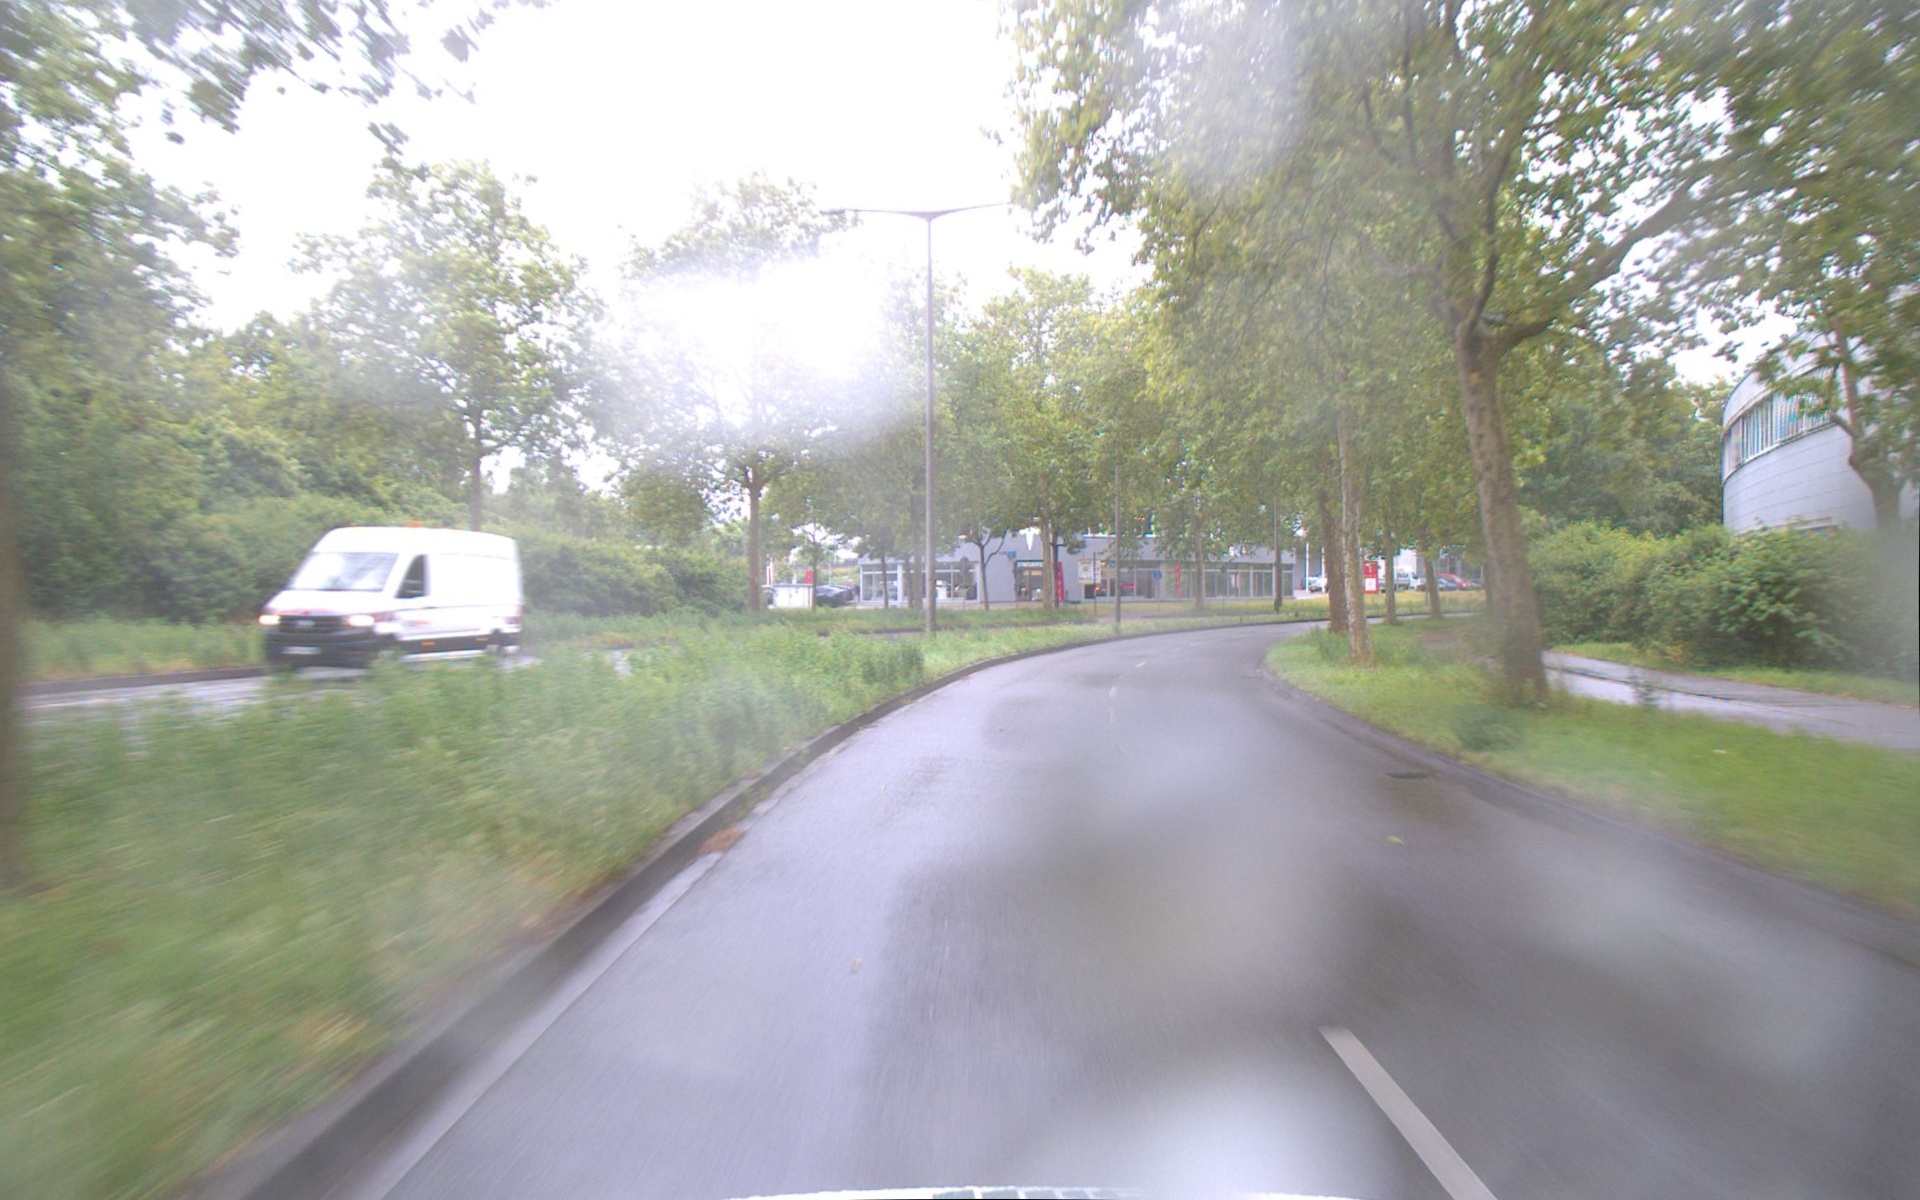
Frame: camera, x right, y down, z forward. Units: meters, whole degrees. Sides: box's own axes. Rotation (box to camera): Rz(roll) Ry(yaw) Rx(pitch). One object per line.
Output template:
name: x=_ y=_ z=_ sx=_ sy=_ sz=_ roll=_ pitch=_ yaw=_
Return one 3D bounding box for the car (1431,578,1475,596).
car: x=51.336 y=-1.399 z=172.313 sx=1.833 sy=1.583 sz=3.947 roll=-2 pitch=5 yaw=-43

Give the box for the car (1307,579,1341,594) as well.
car: x=37.875 y=-1.415 z=172.186 sx=1.736 sy=1.421 sz=4.136 roll=2 pitch=4 yaw=40

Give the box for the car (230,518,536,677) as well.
car: x=-9.836 y=-0.052 z=28.961 sx=2.229 sy=2.469 sz=6.365 roll=0 pitch=0 yaw=10

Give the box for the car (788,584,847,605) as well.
car: x=-10.654 y=-0.387 z=123.689 sx=4.101 sy=1.520 sz=1.599 roll=1 pitch=0 yaw=11

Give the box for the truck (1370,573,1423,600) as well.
truck: x=43.884 y=-1.382 z=166.288 sx=6.145 sy=2.384 sz=2.219 roll=-2 pitch=5 yaw=-43
